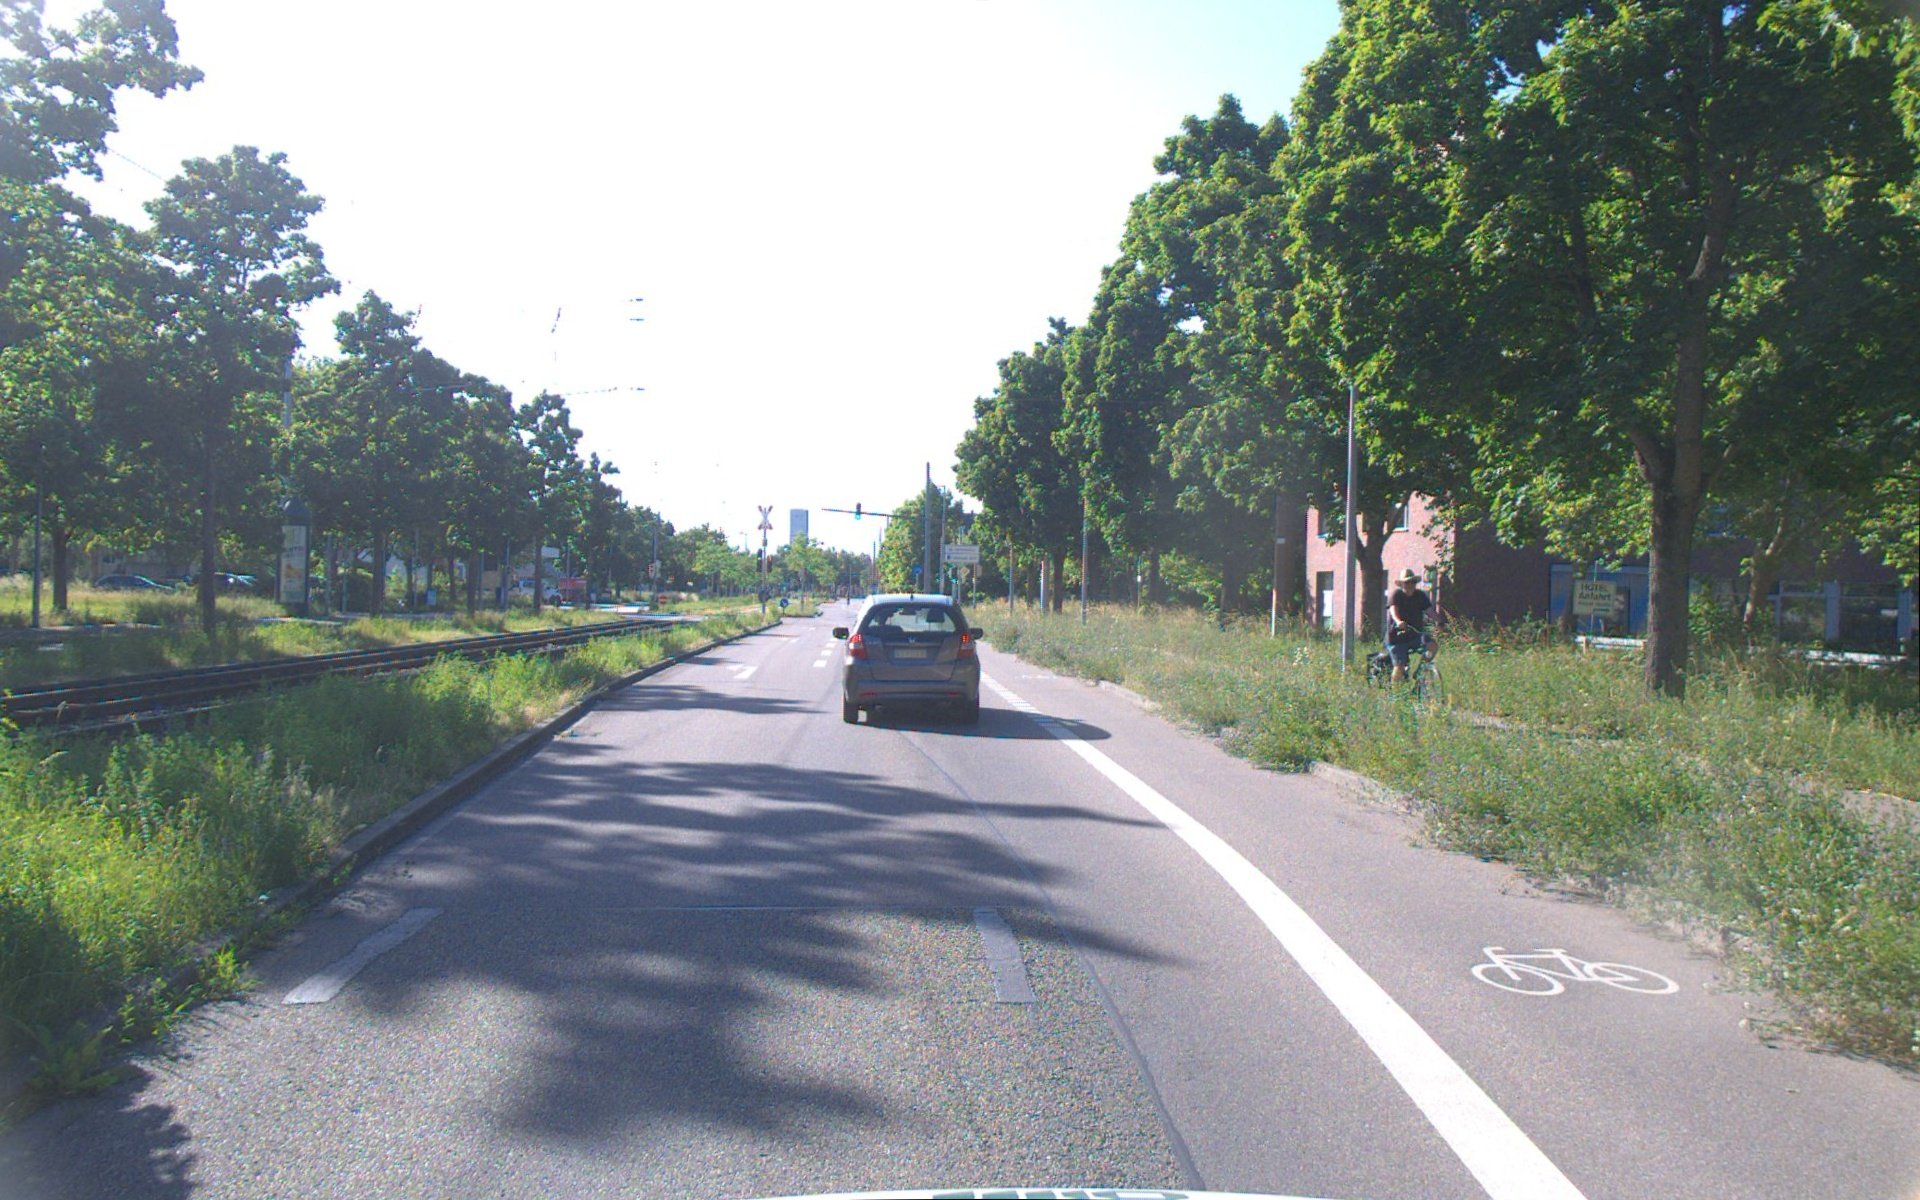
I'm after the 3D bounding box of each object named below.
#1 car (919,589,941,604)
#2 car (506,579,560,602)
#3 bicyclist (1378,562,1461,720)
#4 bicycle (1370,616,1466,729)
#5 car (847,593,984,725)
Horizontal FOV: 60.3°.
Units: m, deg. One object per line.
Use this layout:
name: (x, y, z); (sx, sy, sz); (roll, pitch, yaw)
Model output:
car: (-3.011, -0.355, 164.648); (1.740, 1.411, 3.863); (0, 0, -8)
car: (-39.271, -0.878, 152.154); (1.823, 2.008, 4.768); (1, 0, 36)
bicyclist: (5.266, 0.463, 18.995); (0.669, 1.750, 0.902); (1, -1, -1)
bicycle: (5.248, 0.820, 19.064); (0.473, 1.225, 2.143); (1, -2, -1)
car: (-0.601, 0.673, 20.829); (1.592, 1.526, 3.454); (0, 0, -3)
